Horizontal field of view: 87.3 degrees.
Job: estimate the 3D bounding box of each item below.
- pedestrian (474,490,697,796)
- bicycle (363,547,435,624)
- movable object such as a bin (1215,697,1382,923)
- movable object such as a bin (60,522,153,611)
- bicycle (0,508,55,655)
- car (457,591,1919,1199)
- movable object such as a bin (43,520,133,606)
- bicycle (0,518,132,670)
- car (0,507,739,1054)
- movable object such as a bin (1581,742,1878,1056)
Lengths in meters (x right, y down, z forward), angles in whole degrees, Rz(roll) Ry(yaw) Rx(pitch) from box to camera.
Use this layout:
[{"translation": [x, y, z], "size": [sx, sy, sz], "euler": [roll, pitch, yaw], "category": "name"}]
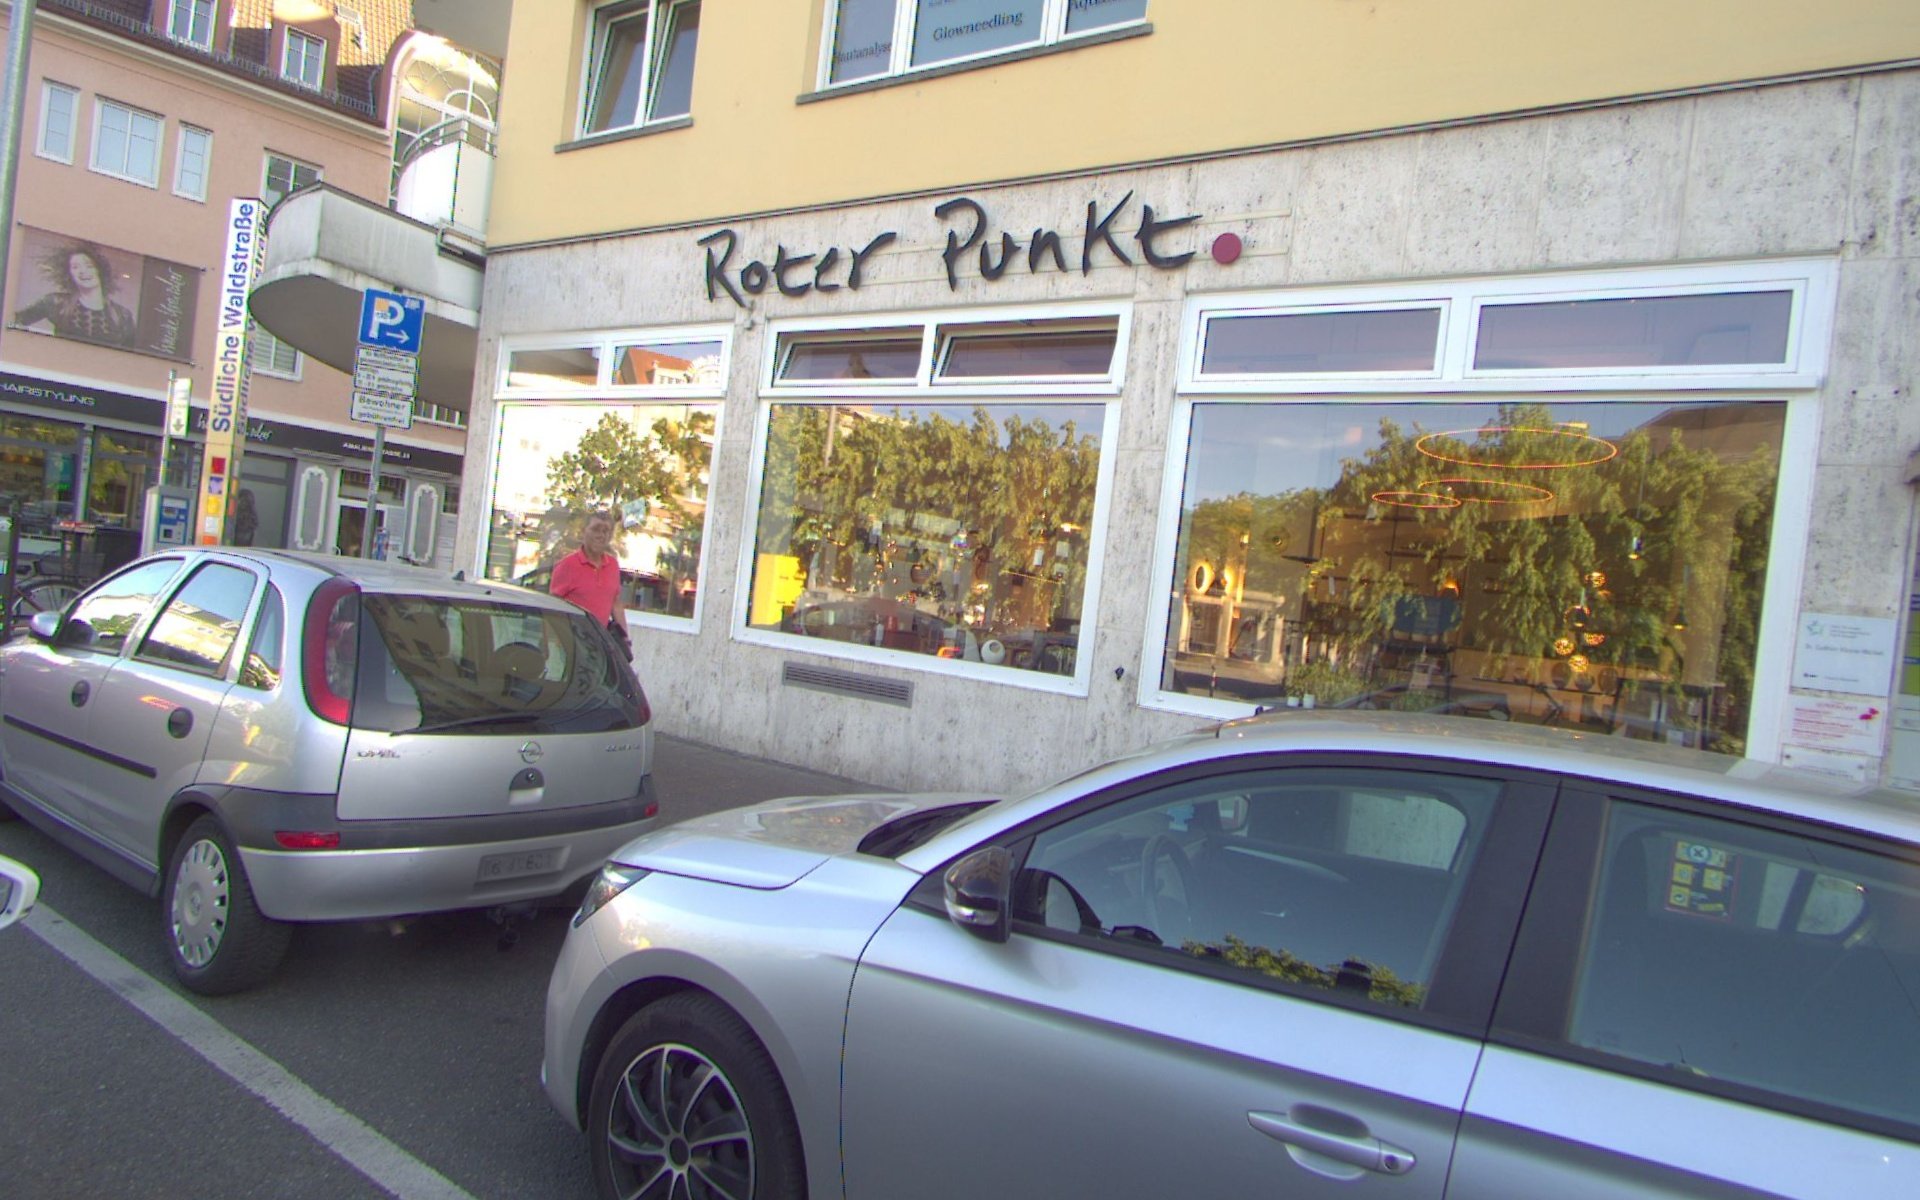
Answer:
[{"translation": [-2.464, 0.253, 6.608], "size": [0.994, 1.807, 0.862], "euler": [7, 2, 40], "category": "pedestrian"}, {"translation": [-10.037, -0.283, 17.969], "size": [0.656, 1.213, 2.187], "euler": [7, -1, -39], "category": "bicycle"}, {"translation": [1.861, 1.086, 5.483], "size": [0.592, 1.041, 0.811], "euler": [7, 0, 31], "category": "movable object such as a bin"}, {"translation": [-11.891, -0.465, 14.025], "size": [0.617, 1.105, 0.754], "euler": [6, -1, 34], "category": "movable object such as a bin"}, {"translation": [-9.099, -0.231, 8.699], "size": [0.778, 1.284, 1.721], "euler": [7, 1, 37], "category": "bicycle"}, {"translation": [0.790, 0.932, 2.307], "size": [3.643, 1.415, 1.653], "euler": [7, -1, 30], "category": "car"}, {"translation": [-12.427, -0.523, 14.346], "size": [0.617, 1.105, 0.734], "euler": [6, -1, 34], "category": "movable object such as a bin"}, {"translation": [-8.094, -0.079, 8.225], "size": [0.681, 1.208, 1.885], "euler": [8, 1, 37], "category": "bicycle"}, {"translation": [-2.930, 0.485, 4.459], "size": [3.583, 1.397, 1.616], "euler": [7, -2, 32], "category": "car"}, {"translation": [3.365, 1.253, 4.504], "size": [0.879, 1.066, 0.751], "euler": [7, 0, 32], "category": "movable object such as a bin"}]
